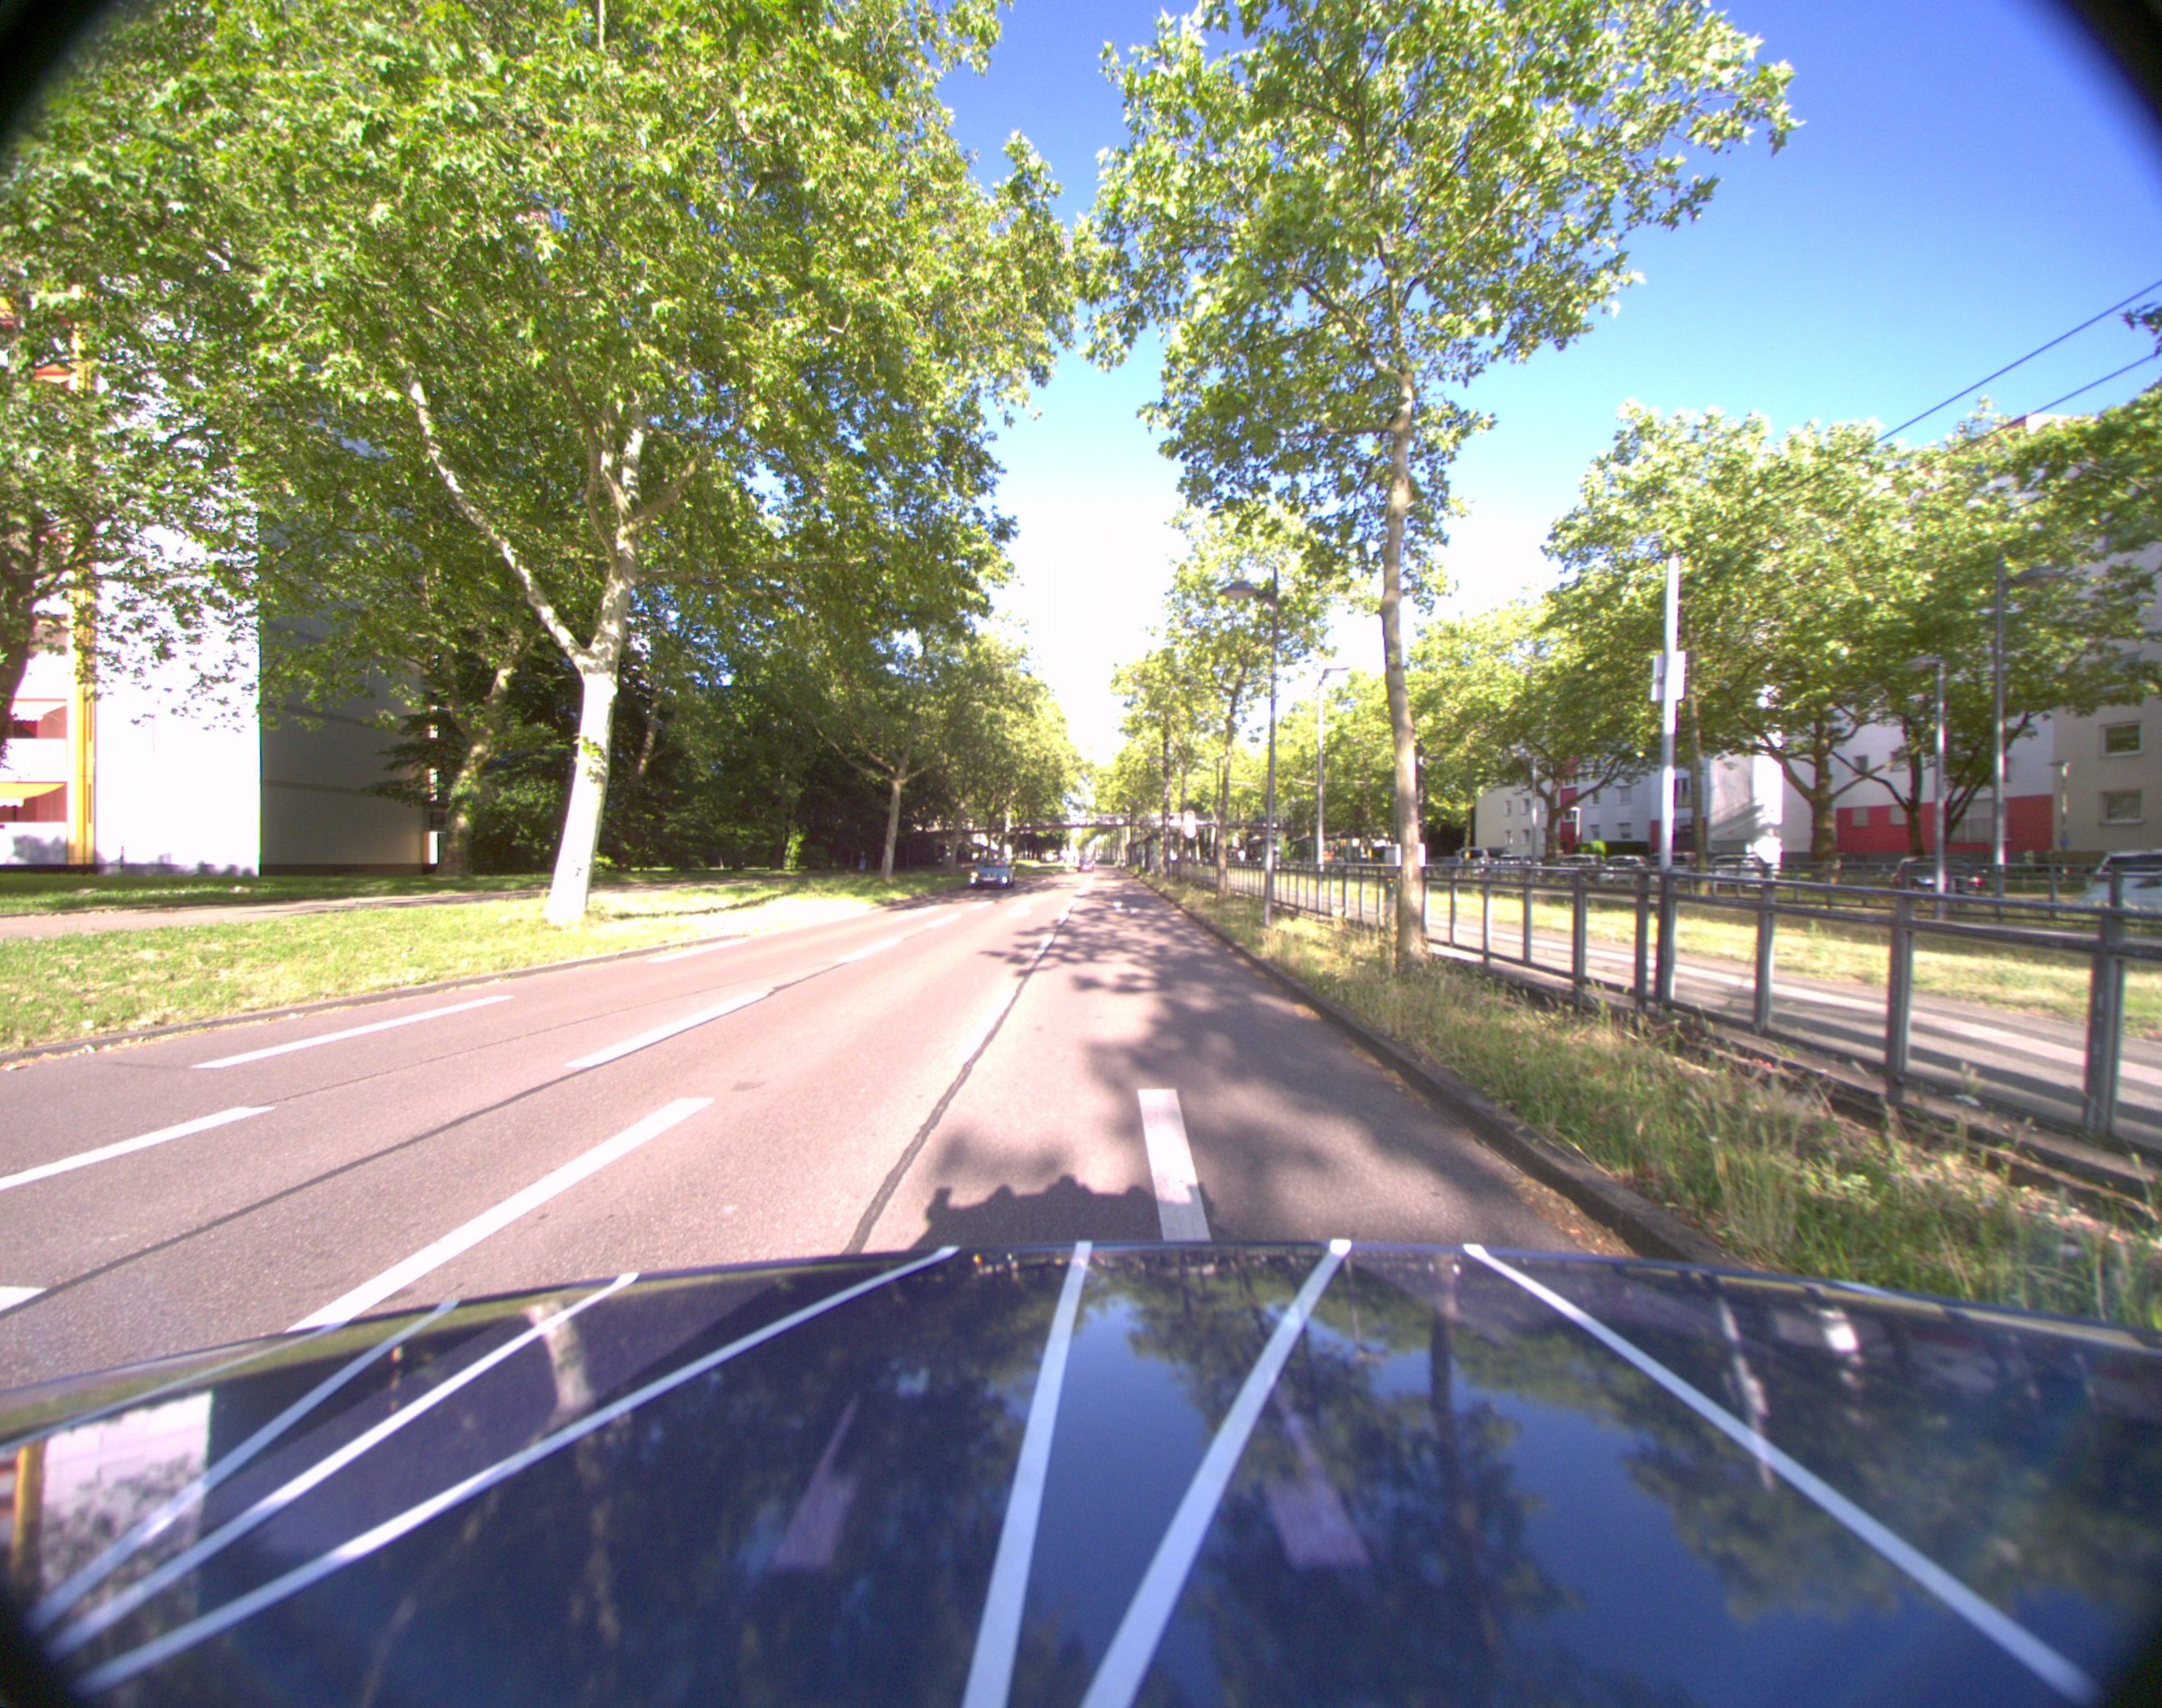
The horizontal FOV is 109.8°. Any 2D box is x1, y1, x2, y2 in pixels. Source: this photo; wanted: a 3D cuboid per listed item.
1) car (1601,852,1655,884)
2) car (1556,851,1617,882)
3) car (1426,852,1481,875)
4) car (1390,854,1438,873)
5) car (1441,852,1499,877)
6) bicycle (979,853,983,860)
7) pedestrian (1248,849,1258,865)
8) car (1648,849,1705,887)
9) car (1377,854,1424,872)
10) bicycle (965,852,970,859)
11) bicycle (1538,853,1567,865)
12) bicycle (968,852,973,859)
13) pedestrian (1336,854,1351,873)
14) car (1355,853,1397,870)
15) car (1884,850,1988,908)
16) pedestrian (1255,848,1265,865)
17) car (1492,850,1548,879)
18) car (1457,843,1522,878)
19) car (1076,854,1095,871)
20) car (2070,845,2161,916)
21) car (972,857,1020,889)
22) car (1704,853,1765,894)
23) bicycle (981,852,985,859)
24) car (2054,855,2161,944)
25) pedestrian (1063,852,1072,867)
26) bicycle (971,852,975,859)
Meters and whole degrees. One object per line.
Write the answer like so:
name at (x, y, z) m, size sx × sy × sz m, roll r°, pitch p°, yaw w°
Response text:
car at (26.176, 0.651, 36.306) m, size 1.571 × 1.424 × 4.068 m, roll -2°, pitch -1°, yaw 43°
car at (26.174, 0.625, 39.273) m, size 1.895 × 1.495 × 4.509 m, roll -2°, pitch -1°, yaw 43°
car at (27.131, 0.656, 55.292) m, size 4.509 × 1.489 × 1.895 m, roll -1°, pitch -1°, yaw -40°
car at (26.888, 0.762, 61.290) m, size 4.208 × 1.420 × 1.696 m, roll -2°, pitch -1°, yaw -37°
car at (26.505, 0.702, 51.749) m, size 4.509 × 1.489 × 1.895 m, roll -1°, pitch -1°, yaw -40°
bicycle at (-18.144, 0.381, 137.689) m, size 0.577 × 1.246 × 1.806 m, roll -1°, pitch 1°, yaw 0°
pedestrian at (16.894, 0.303, 74.686) m, size 0.644 × 1.505 × 0.683 m, roll 1°, pitch 1°, yaw -11°
car at (25.926, 0.579, 33.034) m, size 1.571 × 1.559 × 4.068 m, roll -2°, pitch -1°, yaw 43°
car at (26.964, 0.737, 64.106) m, size 4.208 × 1.420 × 1.696 m, roll -2°, pitch -1°, yaw -37°
bicycle at (-19.362, 0.254, 129.931) m, size 0.577 × 1.246 × 1.806 m, roll -1°, pitch 1°, yaw 0°
bicycle at (39.192, 0.453, 63.248) m, size 0.697 × 0.922 × 2.595 m, roll -1°, pitch -1°, yaw -2°
bicycle at (-19.475, 0.223, 133.927) m, size 0.577 × 1.246 × 1.806 m, roll -1°, pitch 1°, yaw 0°
pedestrian at (16.548, 0.581, 47.874) m, size 0.696 × 1.121 × 0.662 m, roll 3°, pitch 1°, yaw 2°
car at (27.529, 0.667, 70.866) m, size 4.208 × 1.420 × 1.696 m, roll -2°, pitch -1°, yaw -37°
car at (25.024, 0.691, 22.372) m, size 1.642 × 1.535 × 4.184 m, roll -2°, pitch -1°, yaw 43°
pedestrian at (17.510, 0.259, 74.337) m, size 0.731 × 1.625 × 0.715 m, roll 1°, pitch 1°, yaw -1°
car at (26.312, 0.618, 45.518) m, size 4.068 × 1.601 × 1.685 m, roll -1°, pitch -1°, yaw -42°
car at (26.030, 0.394, 48.339) m, size 4.508 × 2.051 × 1.895 m, roll -2°, pitch -1°, yaw -37°
car at (0.466, 0.877, 80.095) m, size 1.898 × 1.602 × 4.000 m, roll -1°, pitch 1°, yaw 1°
car at (25.131, 0.590, 18.155) m, size 4.001 × 1.535 × 1.642 m, roll -1°, pitch -1°, yaw -40°
car at (-4.192, 0.911, 38.159) m, size 1.780 × 1.474 × 4.101 m, roll -2°, pitch 0°, yaw 2°
car at (25.322, 0.730, 29.404) m, size 1.571 × 1.465 × 4.068 m, roll -2°, pitch -1°, yaw 43°
bicycle at (-18.432, 0.233, 142.598) m, size 0.577 × 1.246 × 1.806 m, roll -1°, pitch 1°, yaw 0°
car at (18.963, 0.784, 12.328) m, size 1.635 × 1.441 × 3.718 m, roll -1°, pitch 1°, yaw 2°
pedestrian at (-1.636, 0.647, 91.950) m, size 0.658 × 1.766 × 0.741 m, roll -1°, pitch -1°, yaw 39°
bicycle at (-20.002, 0.214, 140.519) m, size 0.577 × 1.246 × 1.806 m, roll -1°, pitch 1°, yaw 0°
